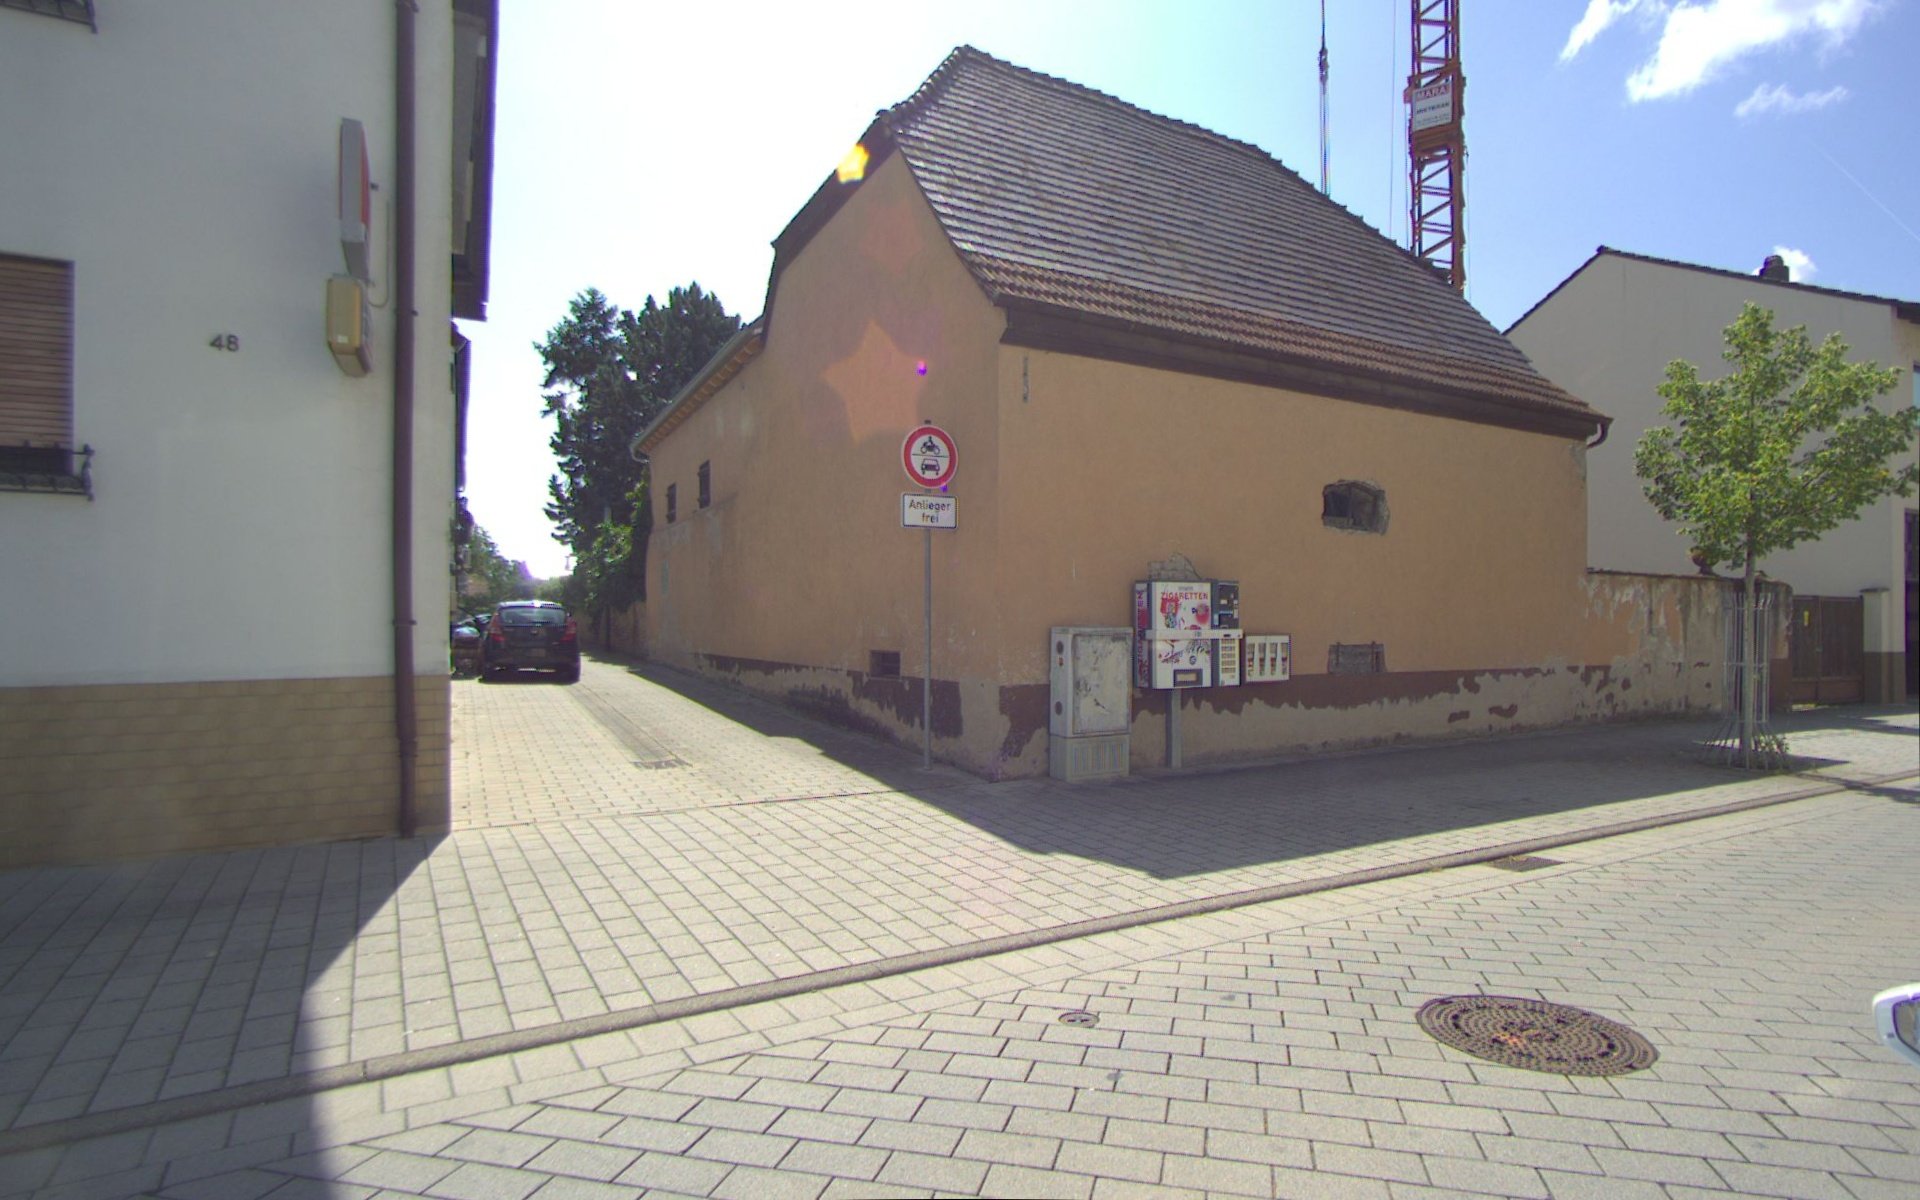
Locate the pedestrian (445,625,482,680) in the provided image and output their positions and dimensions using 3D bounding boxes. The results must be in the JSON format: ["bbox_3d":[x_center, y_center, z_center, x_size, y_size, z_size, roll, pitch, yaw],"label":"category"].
[{"bbox_3d":[-9.776,1.023,19.773,0.623,1.021,0.812,1,0,-27],"label":"pedestrian"}]

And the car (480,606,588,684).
[{"bbox_3d":[-8.808,0.862,20.611,1.822,1.437,3.973,0,-1,-26],"label":"car"}]
